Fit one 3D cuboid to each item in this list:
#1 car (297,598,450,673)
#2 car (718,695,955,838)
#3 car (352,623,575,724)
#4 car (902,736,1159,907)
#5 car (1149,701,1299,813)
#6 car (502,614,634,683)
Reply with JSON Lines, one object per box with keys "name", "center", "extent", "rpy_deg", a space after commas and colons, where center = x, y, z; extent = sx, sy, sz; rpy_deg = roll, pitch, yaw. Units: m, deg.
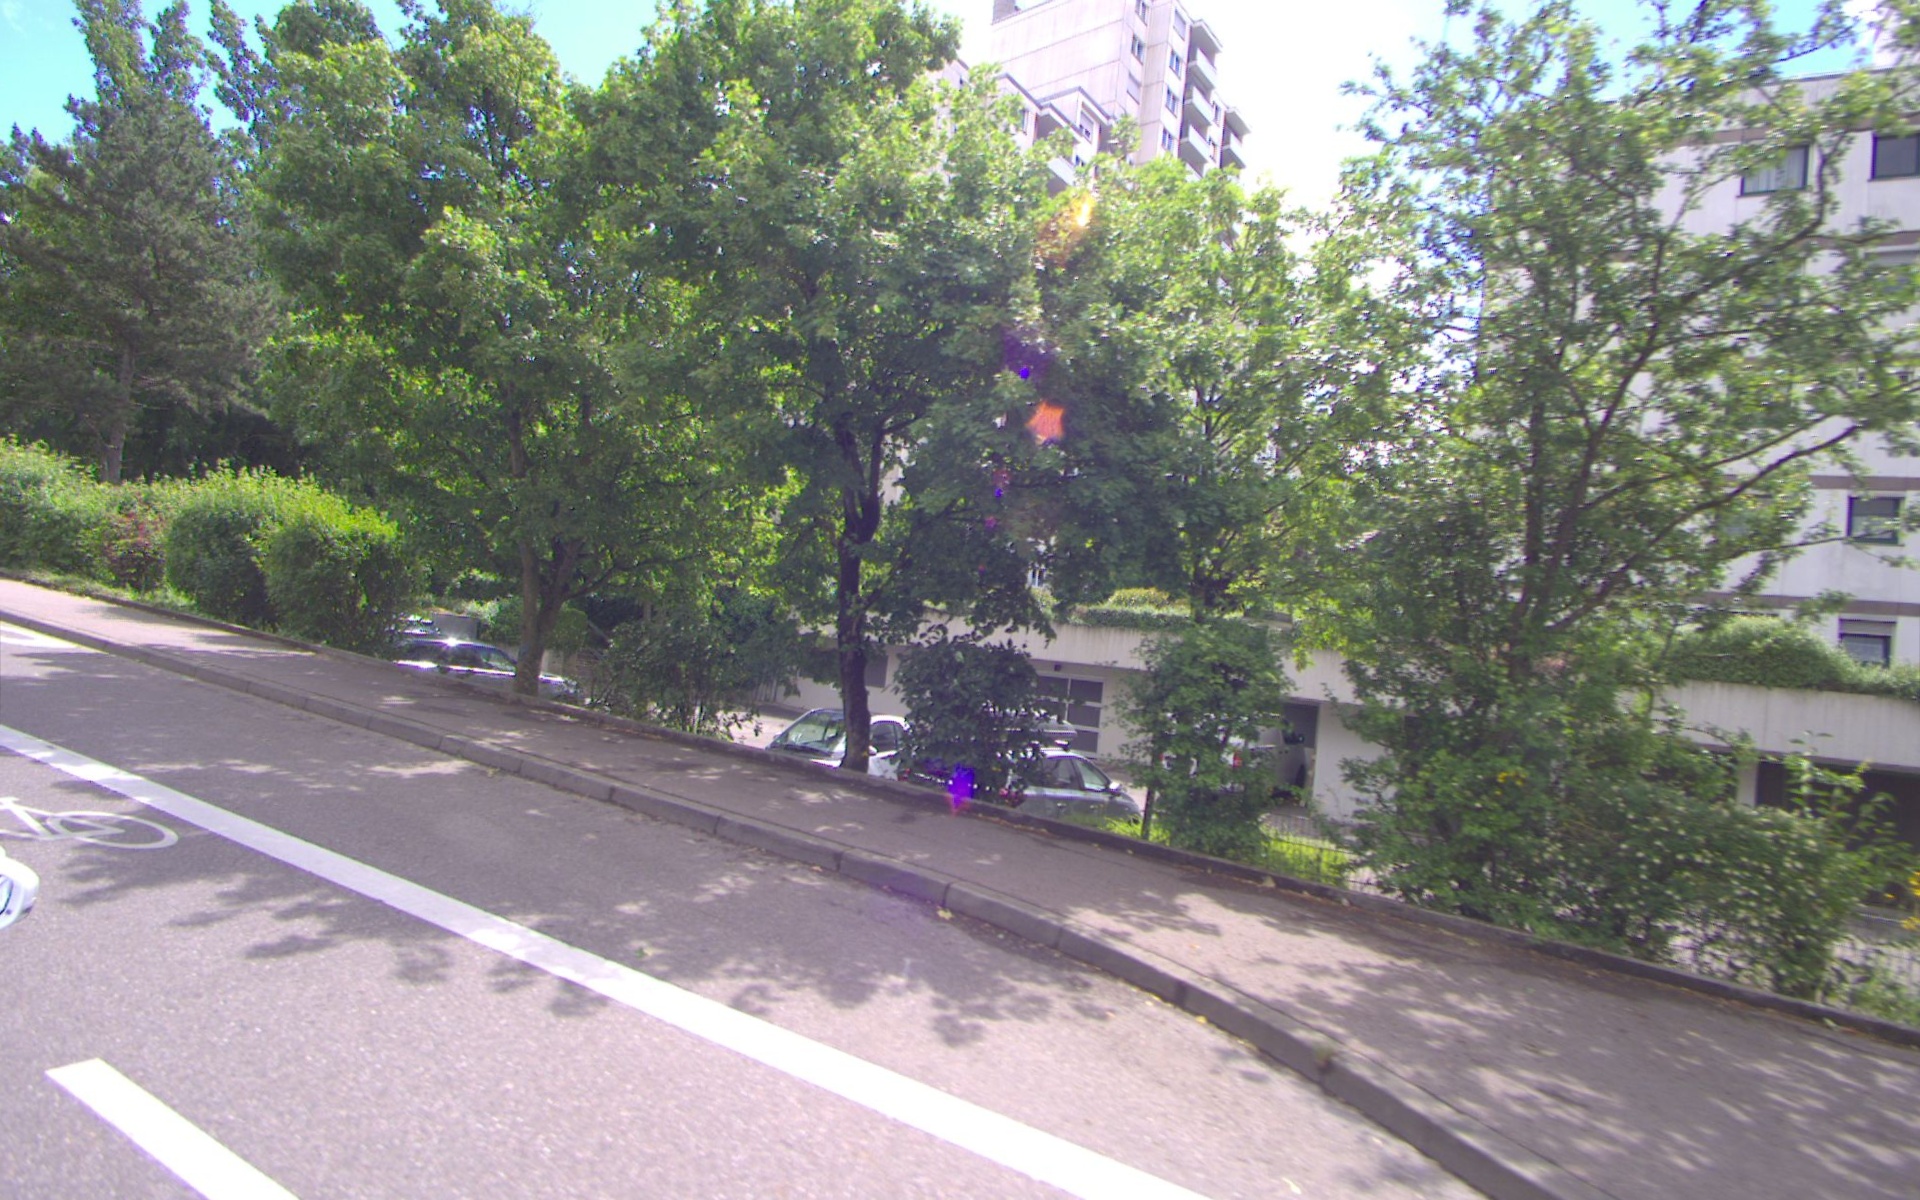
{"name": "car", "center": [-16.500, 0.994, 28.285], "extent": [3.932, 1.486, 1.874], "rpy_deg": [7, -1, 30]}
{"name": "car", "center": [-1.596, 2.213, 13.895], "extent": [1.694, 1.486, 2.965], "rpy_deg": [7, -2, 29]}
{"name": "car", "center": [-9.111, 1.413, 18.698], "extent": [1.546, 1.507, 3.264], "rpy_deg": [7, -2, 31]}
{"name": "car", "center": [1.011, 2.488, 12.095], "extent": [1.538, 1.448, 3.763], "rpy_deg": [5, -3, 29]}
{"name": "car", "center": [5.672, 3.204, 21.281], "extent": [1.763, 1.914, 3.990], "rpy_deg": [4, -2, 33]}
{"name": "car", "center": [-12.715, 1.560, 32.616], "extent": [3.934, 1.636, 1.828], "rpy_deg": [7, -2, 32]}
